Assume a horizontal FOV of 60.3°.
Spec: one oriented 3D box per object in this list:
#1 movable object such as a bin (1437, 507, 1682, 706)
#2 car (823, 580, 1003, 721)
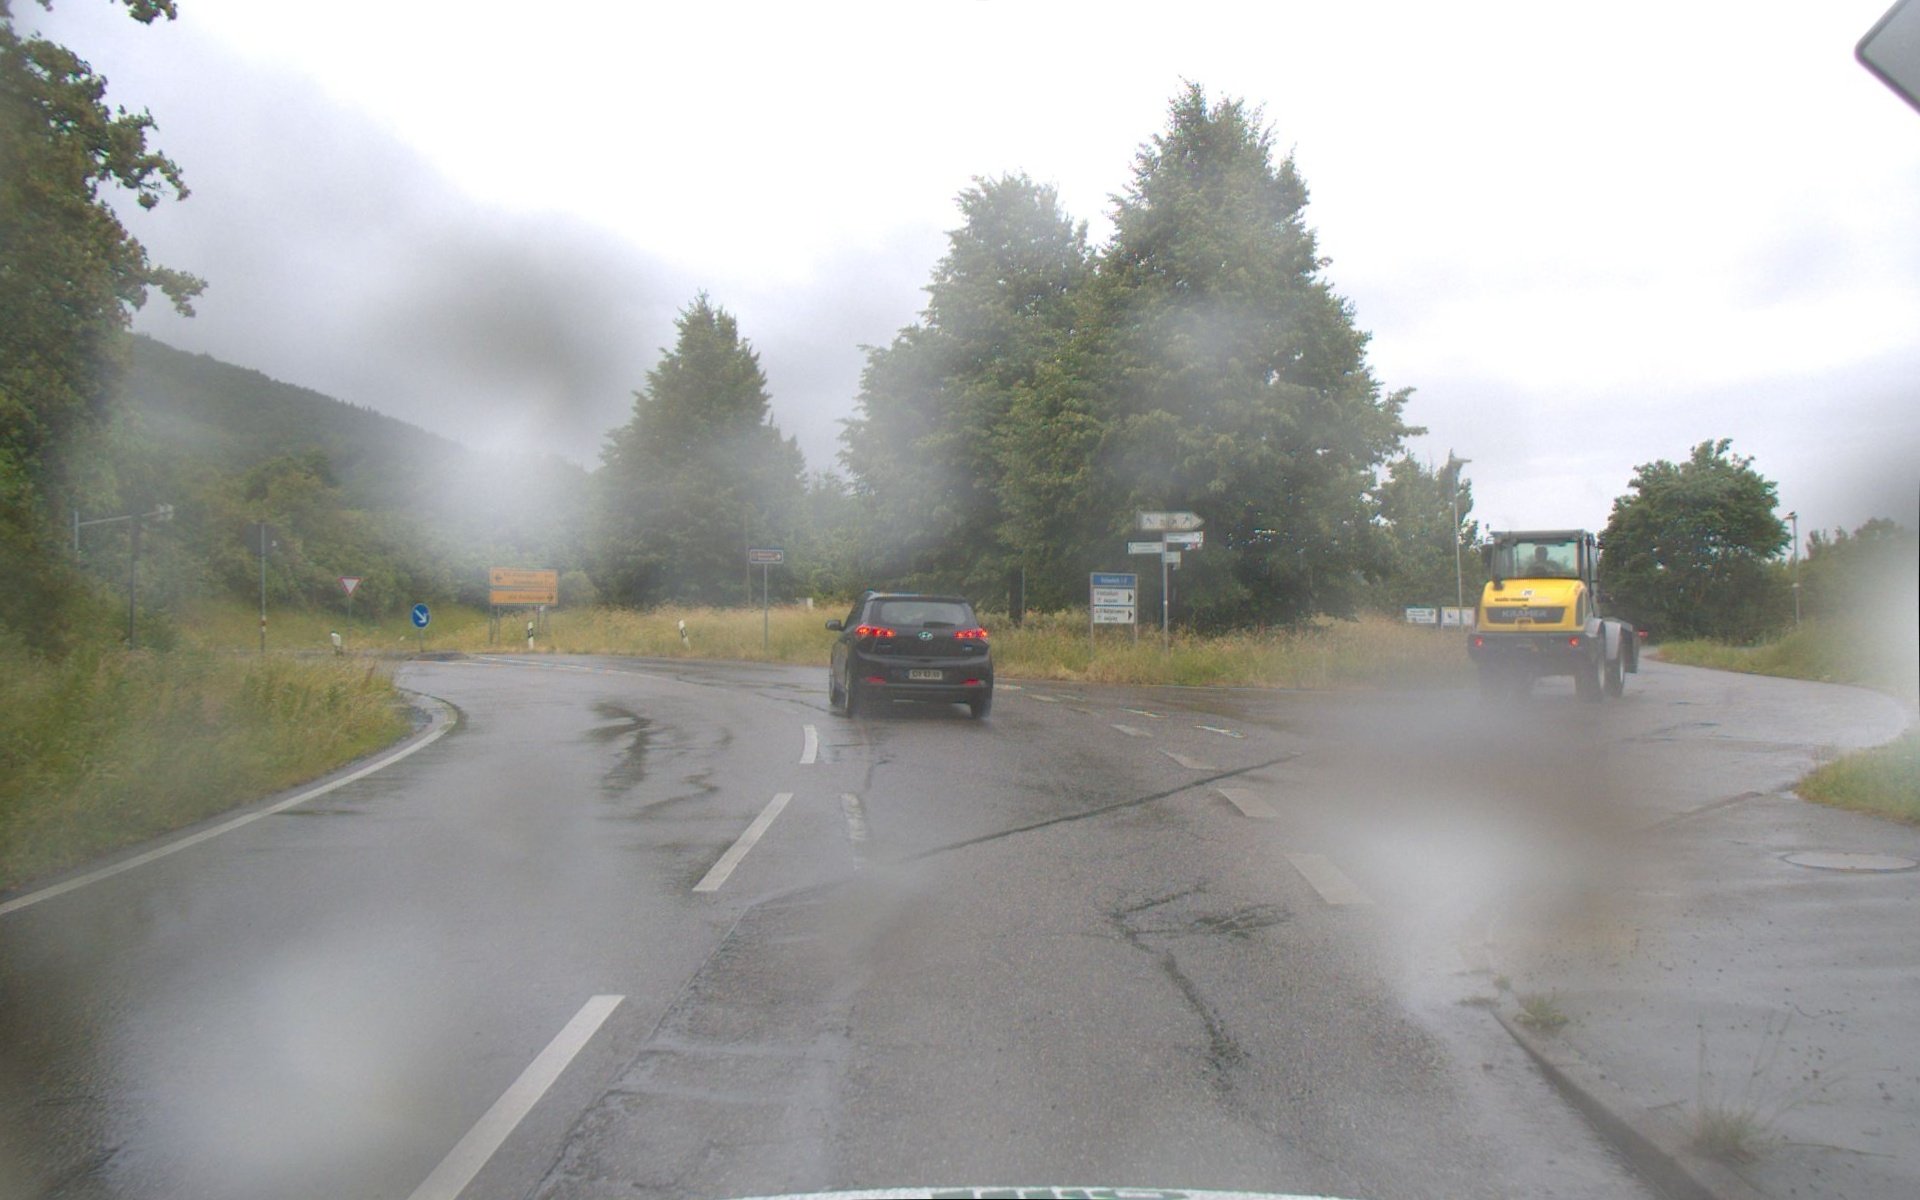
[{"bbox_3d":[9.614,0.148,26.058,2.206,2.716,6.607,1,-1,33],"label":"movable object such as a bin"},{"bbox_3d":[-0.681,0.580,20.333,1.955,1.513,3.996,2,-1,-5],"label":"car"}]
